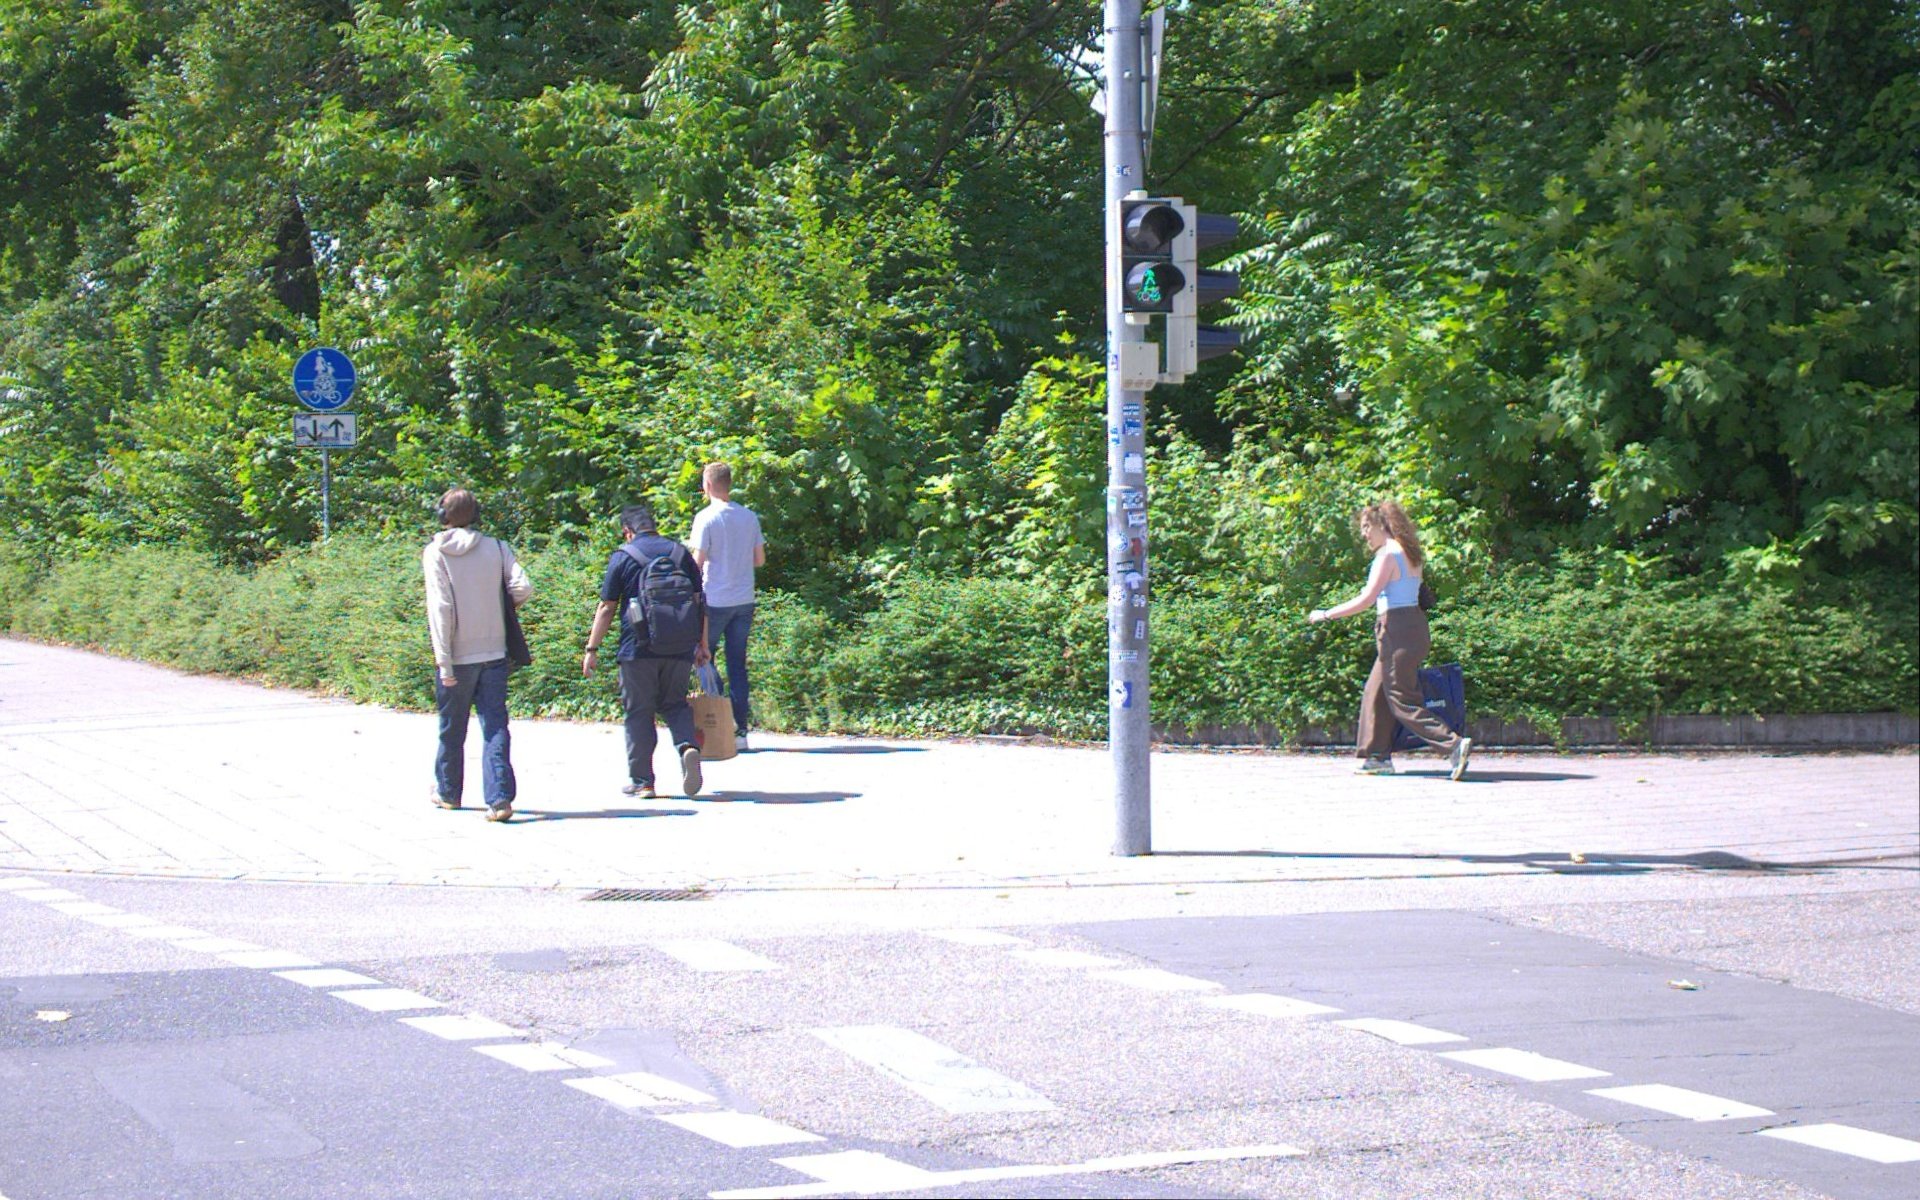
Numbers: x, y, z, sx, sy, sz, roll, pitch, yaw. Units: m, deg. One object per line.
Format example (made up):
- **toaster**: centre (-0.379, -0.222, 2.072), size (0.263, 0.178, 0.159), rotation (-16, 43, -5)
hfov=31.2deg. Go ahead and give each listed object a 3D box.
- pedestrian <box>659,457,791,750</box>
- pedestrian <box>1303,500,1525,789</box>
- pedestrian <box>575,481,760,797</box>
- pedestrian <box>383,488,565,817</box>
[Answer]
- **pedestrian**: centre (-1.489, 0.015, 21.713), size (0.670, 1.814, 0.703), rotation (0, 1, -17)
- **pedestrian**: centre (2.676, 0.236, 20.250), size (1.019, 1.620, 0.856), rotation (2, 3, 34)
- **pedestrian**: centre (-1.639, 0.194, 19.128), size (0.795, 1.698, 1.183), rotation (0, 2, -16)
- **pedestrian**: centre (-2.620, 0.256, 18.430), size (0.795, 1.698, 1.183), rotation (0, 2, -16)
